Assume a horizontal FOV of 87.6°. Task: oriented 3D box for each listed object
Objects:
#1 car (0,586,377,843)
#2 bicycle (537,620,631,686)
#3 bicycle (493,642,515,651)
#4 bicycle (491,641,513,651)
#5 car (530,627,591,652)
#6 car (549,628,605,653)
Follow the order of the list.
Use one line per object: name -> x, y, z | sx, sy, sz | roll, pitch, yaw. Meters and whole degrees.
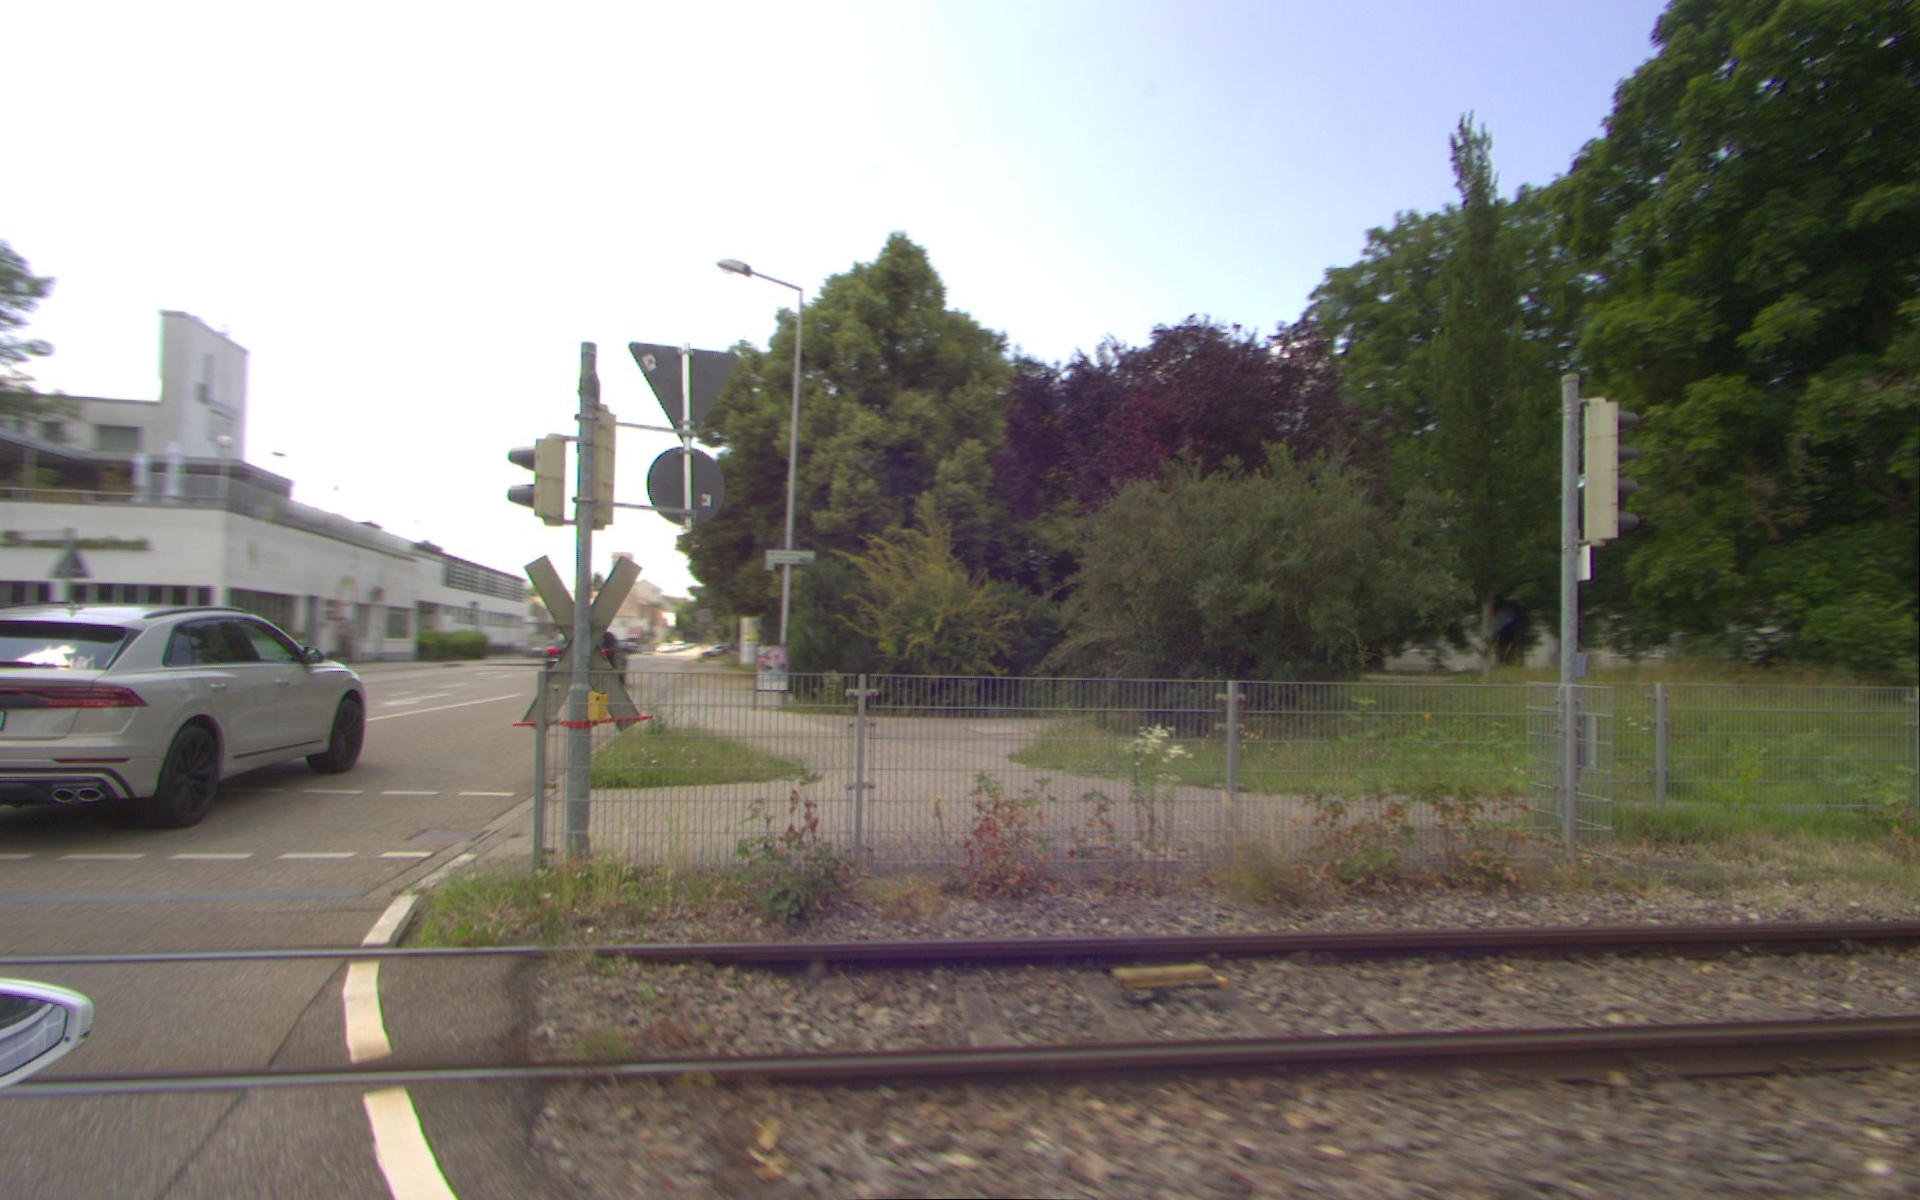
car -> -7.075, 0.829, 8.826 | 1.951, 1.705, 4.571 | 1, -2, -12
bicycle -> -10.550, 1.486, 28.398 | 1.964, 1.696, 4.205 | 2, -2, -14
bicycle -> -40.697, 4.128, 89.323 | 1.657, 0.767, 0.565 | 5, -4, -40
bicycle -> -41.146, 4.145, 89.947 | 1.657, 0.767, 0.565 | 5, -4, -40
car -> -33.727, 3.361, 84.691 | 4.567, 2.038, 1.997 | 2, -3, -19
car -> -33.965, 3.625, 88.915 | 4.567, 2.038, 1.997 | 2, -3, -19
